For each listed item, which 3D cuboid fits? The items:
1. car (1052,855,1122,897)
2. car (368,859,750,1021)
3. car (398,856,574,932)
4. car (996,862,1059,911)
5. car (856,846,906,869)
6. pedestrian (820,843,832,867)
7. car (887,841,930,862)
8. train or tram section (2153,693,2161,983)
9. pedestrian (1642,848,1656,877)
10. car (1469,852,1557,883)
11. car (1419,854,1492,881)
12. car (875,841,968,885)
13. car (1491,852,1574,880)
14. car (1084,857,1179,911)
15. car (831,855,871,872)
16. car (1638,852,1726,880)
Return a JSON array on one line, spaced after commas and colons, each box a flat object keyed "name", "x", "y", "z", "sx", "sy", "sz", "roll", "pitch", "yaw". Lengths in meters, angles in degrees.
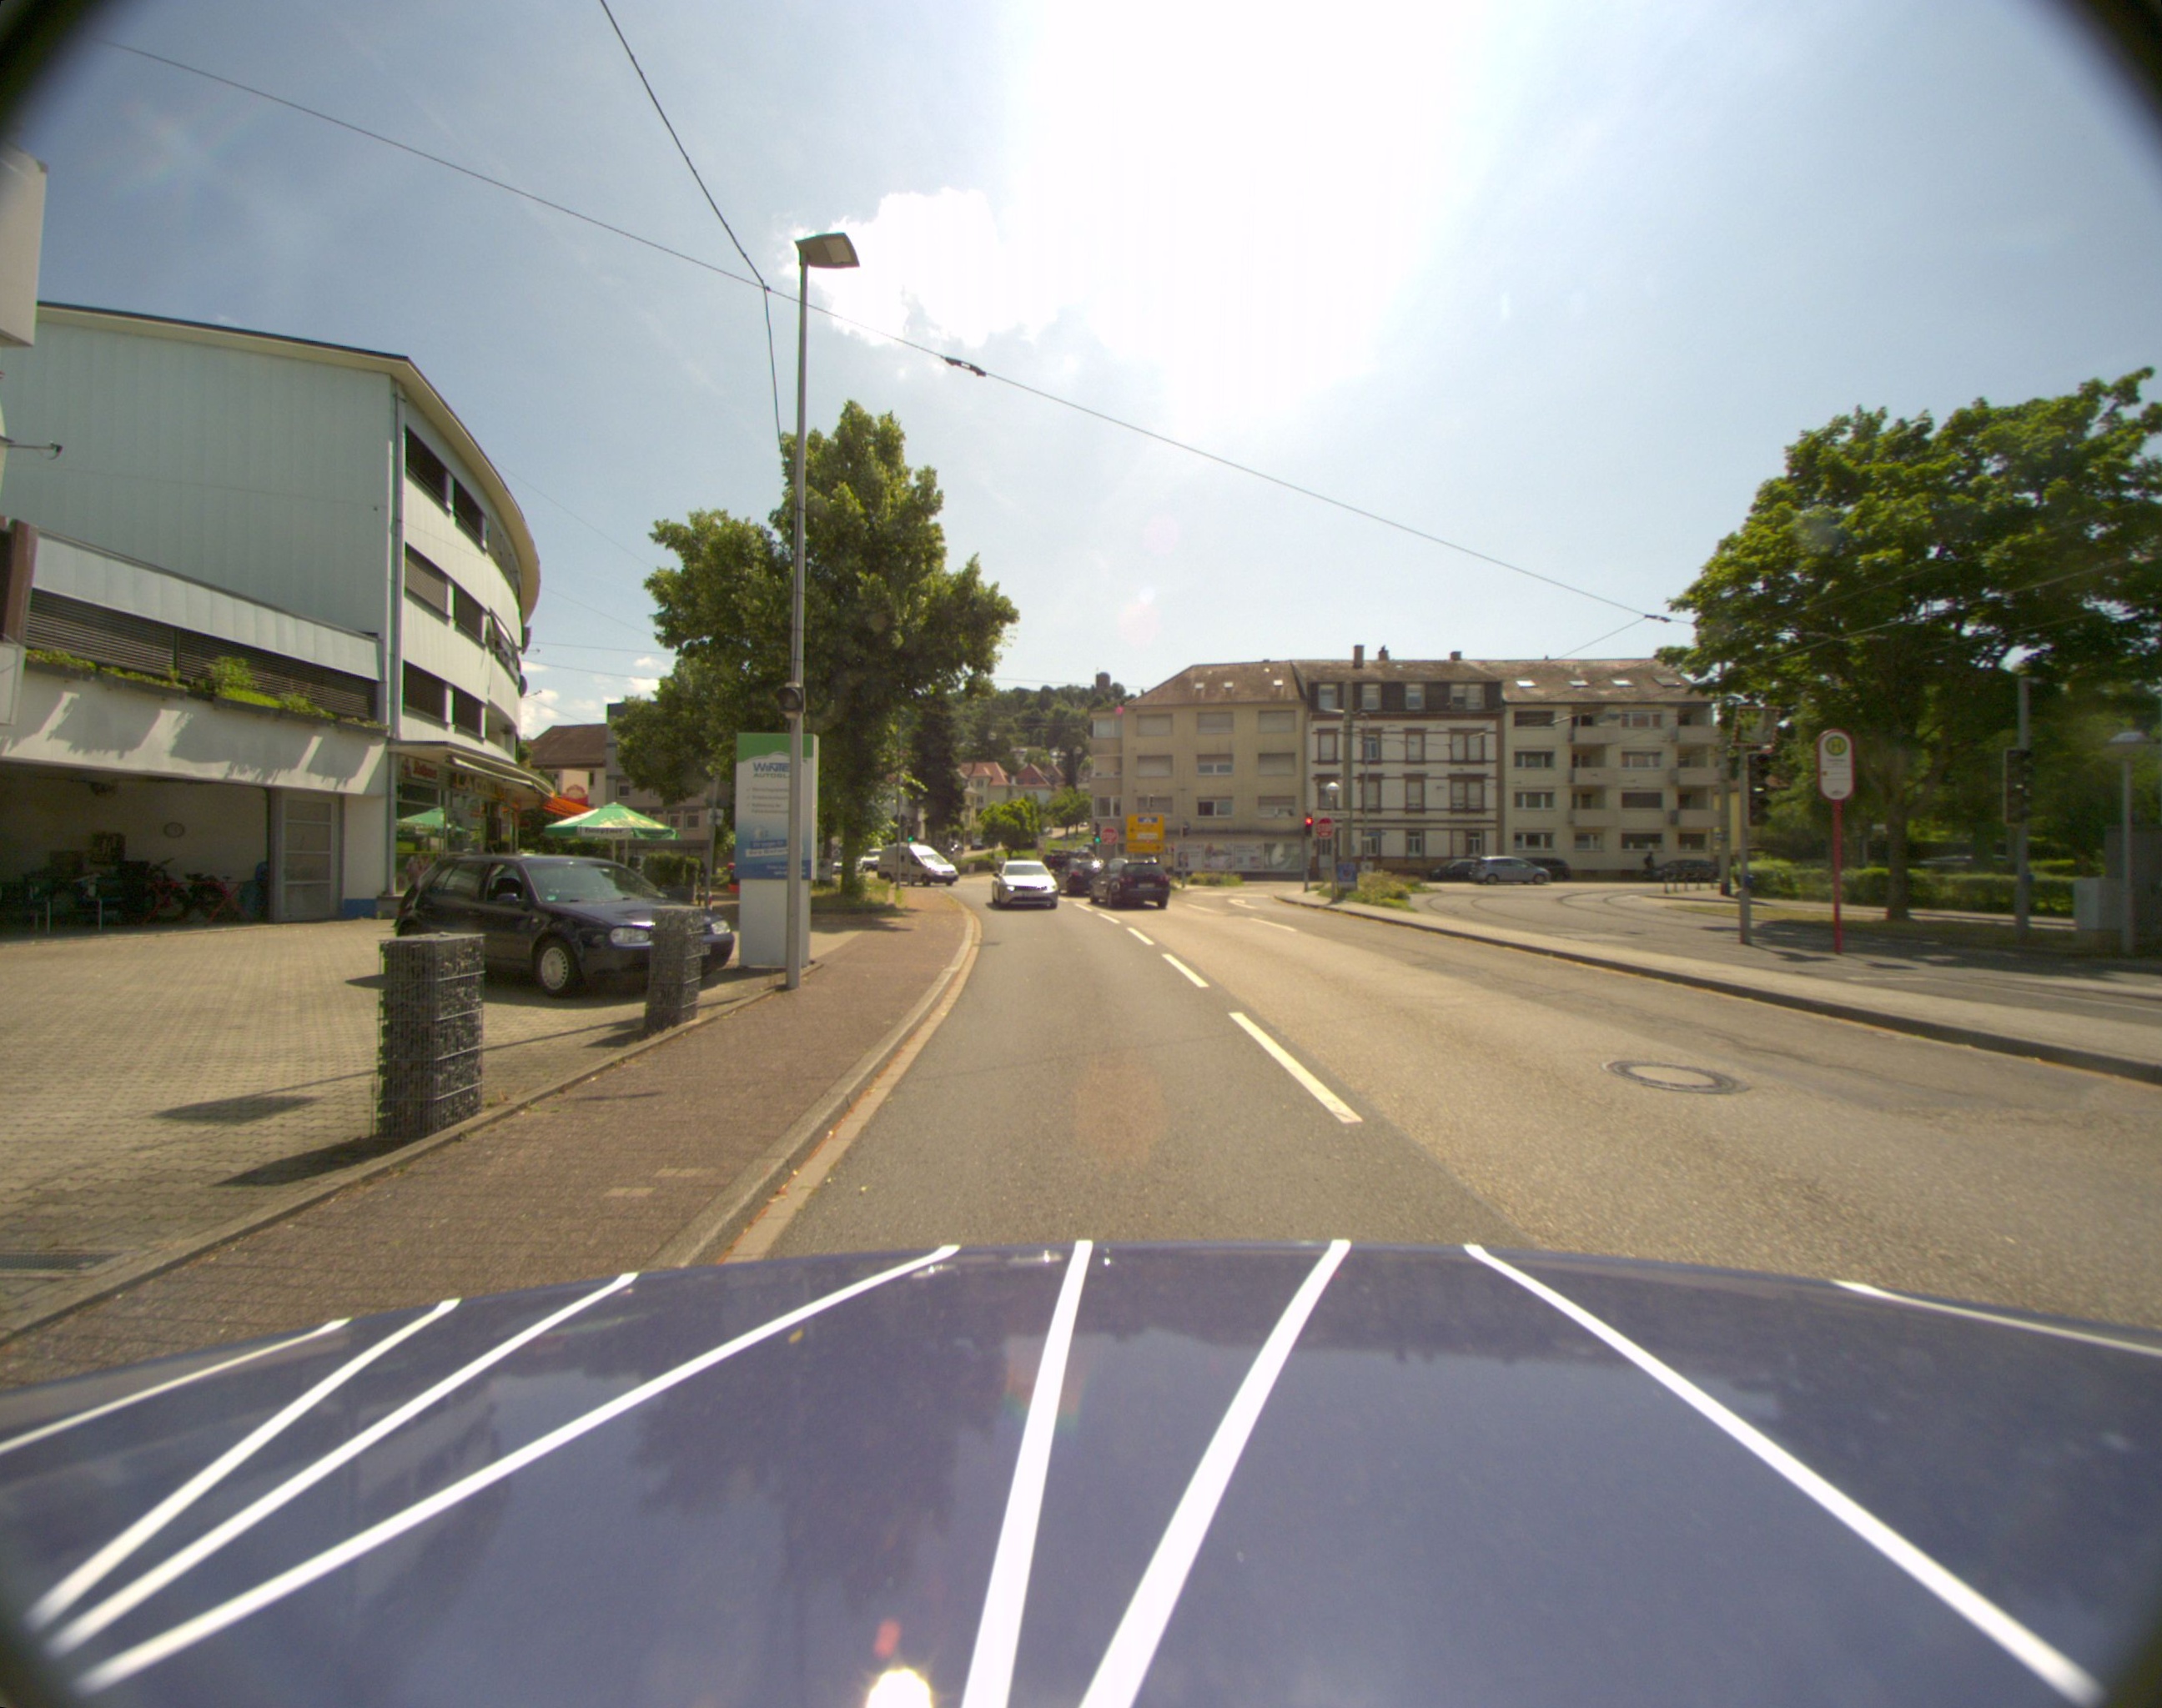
[{"name": "car", "x": 0.172, "y": 0.822, "z": 30.557, "sx": 1.843, "sy": 1.482, "sz": 4.122, "roll": -2, "pitch": 1, "yaw": -13}, {"name": "car", "x": -5.903, "y": 0.809, "z": 8.585, "sx": 3.963, "sy": 1.420, "sz": 1.703, "roll": 1, "pitch": 0, "yaw": 24}, {"name": "car", "x": -12.743, "y": 0.761, "z": 16.618, "sx": 1.715, "sy": 1.392, "sz": 4.276, "roll": -1, "pitch": 1, "yaw": -19}, {"name": "car", "x": -1.809, "y": 0.972, "z": 24.489, "sx": 1.819, "sy": 1.371, "sz": 4.389, "roll": -1, "pitch": 0, "yaw": -7}, {"name": "car", "x": -19.037, "y": 0.270, "z": 72.633, "sx": 2.398, "sy": 2.002, "sz": 5.384, "roll": -2, "pitch": 1, "yaw": 11}, {"name": "pedestrian", "x": -22.092, "y": 0.099, "z": 65.844, "sx": 0.625, "sy": 2.002, "sz": 0.706, "roll": -2, "pitch": 1, "yaw": 8}, {"name": "car", "x": -17.891, "y": -0.332, "z": 79.193, "sx": 2.398, "sy": 2.002, "sz": 5.384, "roll": -2, "pitch": 1, "yaw": 11}, {"name": "train or tram section", "x": 14.474, "y": -0.233, "z": 2.819, "sx": 2.971, "sy": 3.474, "sz": 12.712, "roll": -2, "pitch": 0, "yaw": 0}, {"name": "pedestrian", "x": 37.500, "y": 0.566, "z": 50.169, "sx": 0.556, "sy": 1.846, "sz": 0.428, "roll": -2, "pitch": 1, "yaw": 3}, {"name": "car", "x": 24.621, "y": 0.747, "z": 43.447, "sx": 3.994, "sy": 1.609, "sz": 1.760, "roll": -2, "pitch": 1, "yaw": 8}, {"name": "car", "x": 24.222, "y": 0.868, "z": 49.228, "sx": 3.755, "sy": 1.576, "sz": 2.000, "roll": -2, "pitch": 1, "yaw": 3}, {"name": "car", "x": -8.799, "y": 0.496, "z": 41.609, "sx": 5.429, "sy": 2.258, "sz": 2.004, "roll": -1, "pitch": 1, "yaw": 41}, {"name": "car", "x": 28.925, "y": 0.759, "z": 48.772, "sx": 4.067, "sy": 1.576, "sz": 2.000, "roll": -2, "pitch": 1, "yaw": 3}, {"name": "car", "x": 1.479, "y": 0.870, "z": 24.309, "sx": 1.842, "sy": 1.482, "sz": 4.807, "roll": -1, "pitch": 1, "yaw": -11}, {"name": "car", "x": -20.171, "y": 0.805, "z": 66.874, "sx": 1.530, "sy": 1.361, "sz": 4.159, "roll": -2, "pitch": 1, "yaw": 11}, {"name": "car", "x": 38.042, "y": 0.742, "z": 48.192, "sx": 4.067, "sy": 1.576, "sz": 1.814, "roll": -2, "pitch": 1, "yaw": 3}]
